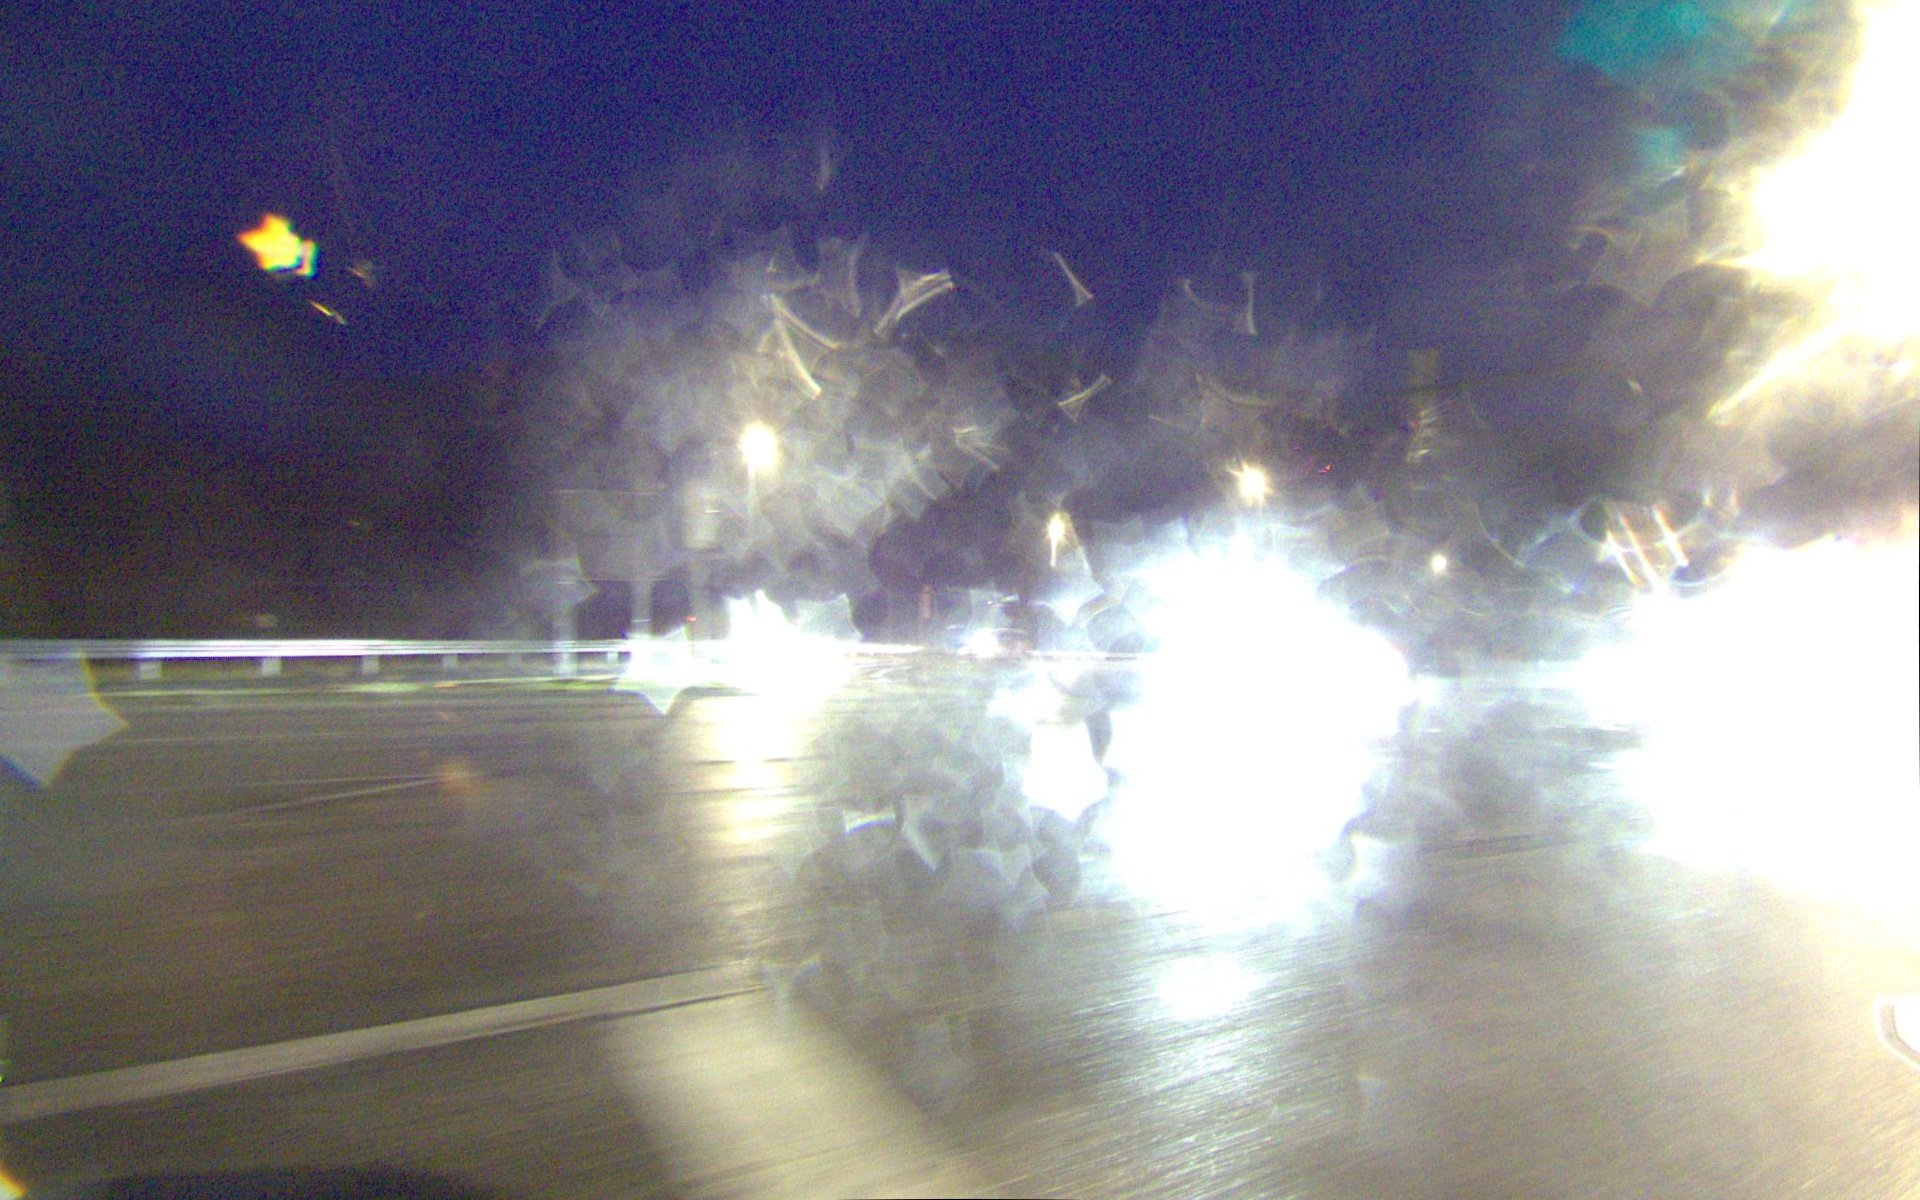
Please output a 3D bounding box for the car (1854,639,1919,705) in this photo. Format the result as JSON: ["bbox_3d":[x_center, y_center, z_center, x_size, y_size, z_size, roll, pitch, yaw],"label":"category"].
[{"bbox_3d":[24.416,1.849,25.297,3.604,1.545,1.580,4,-2,-26],"label":"car"}]

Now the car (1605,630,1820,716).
[{"bbox_3d":[15.686,1.500,20.883,4.651,1.592,1.693,3,-1,-27],"label":"car"}]

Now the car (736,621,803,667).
[{"bbox_3d":[-6.823,1.547,36.412,2.141,1.468,4.131,3,-2,-8],"label":"car"}]

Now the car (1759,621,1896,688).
[{"bbox_3d":[25.390,1.609,29.375,3.958,1.743,1.982,4,-2,-33],"label":"car"}]

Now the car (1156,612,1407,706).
[{"bbox_3d":[6.229,1.119,19.277,4.856,1.592,1.783,3,-1,-30],"label":"car"}]

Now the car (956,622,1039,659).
[{"bbox_3d":[2.269,2.433,60.107,4.885,1.965,1.977,4,-2,-40],"label":"car"}]

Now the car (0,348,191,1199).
[{"bbox_3d":[-3.765,0.431,0.685,4.883,1.726,1.900,2,-1,-31],"label":"car"}]

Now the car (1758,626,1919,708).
[{"bbox_3d":[20.512,1.566,23.290,3.899,1.713,1.675,4,-2,-27],"label":"car"}]
